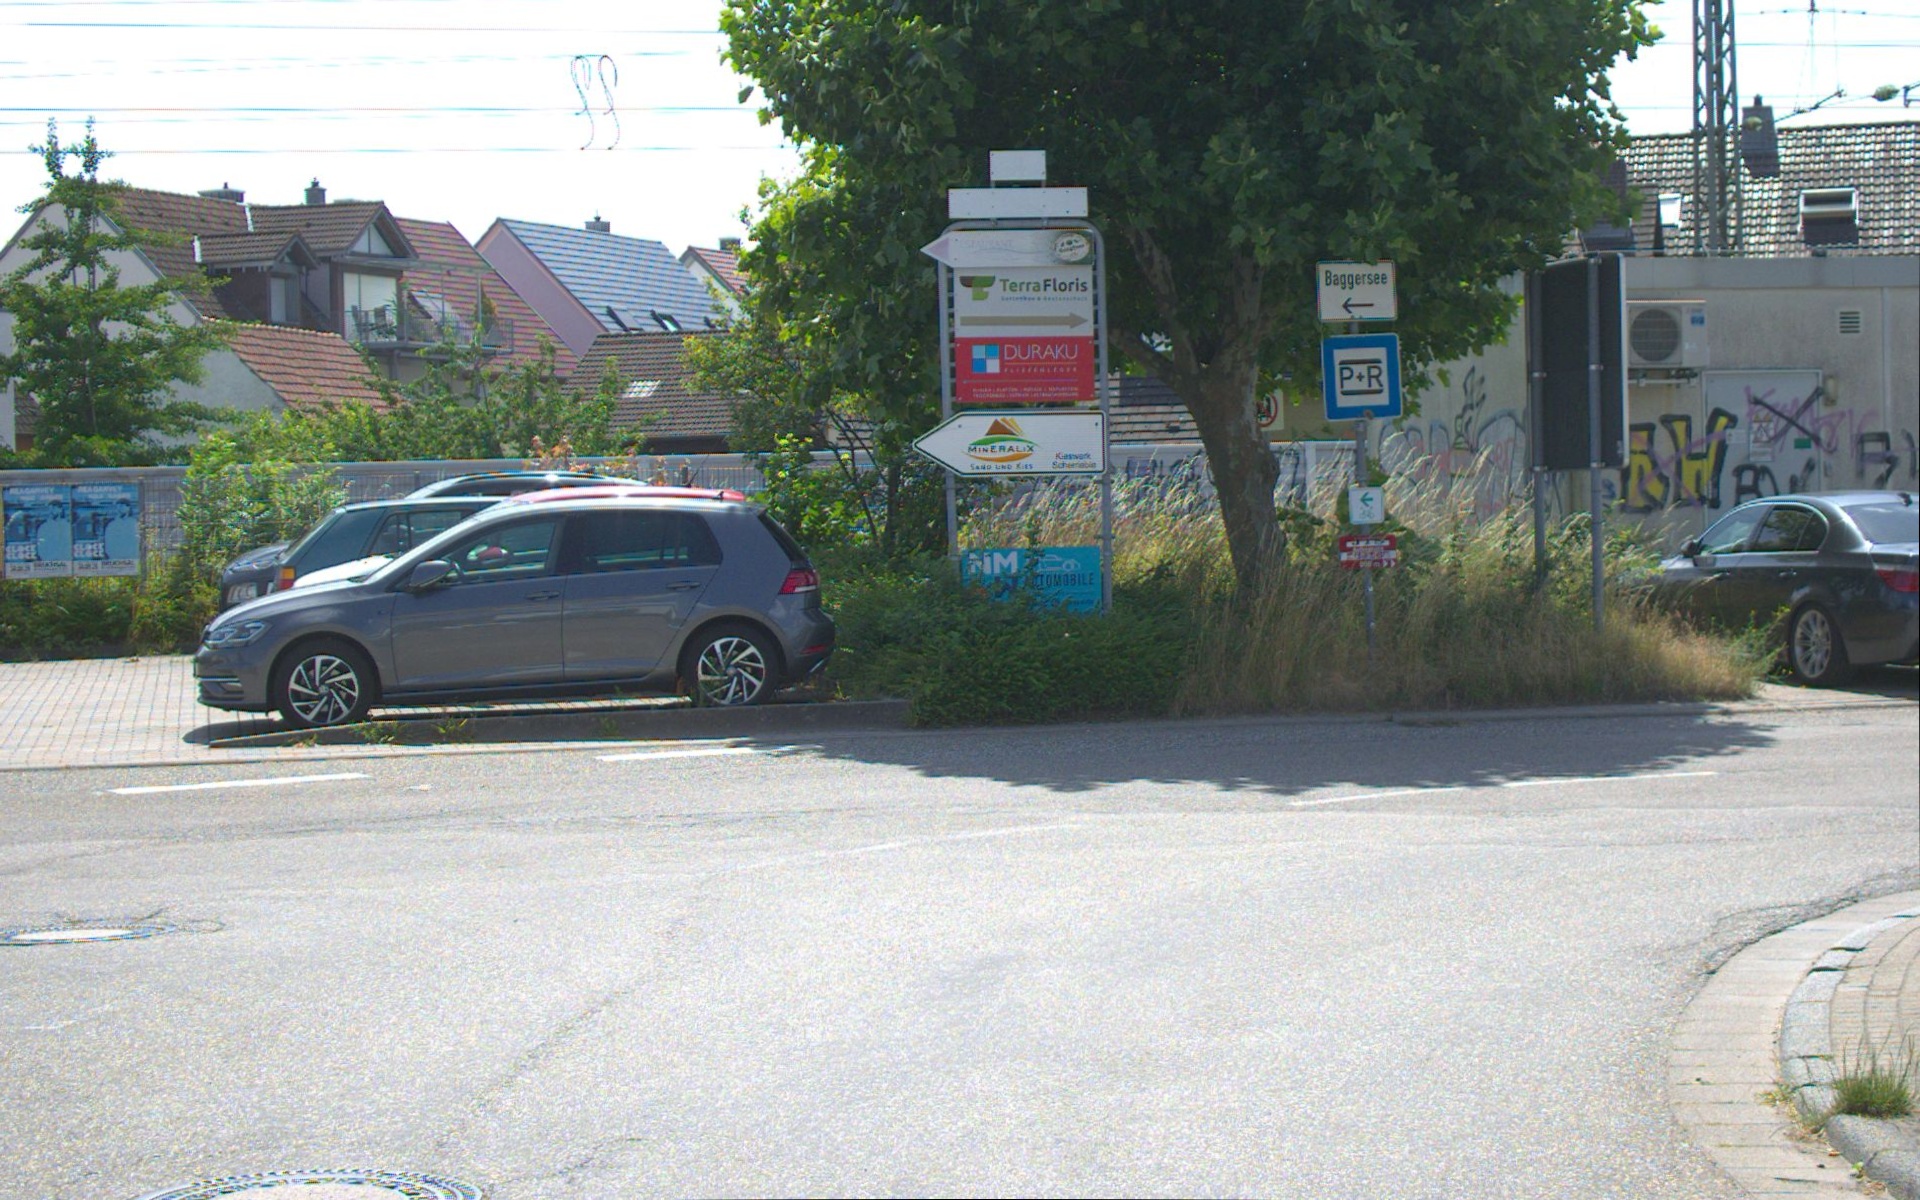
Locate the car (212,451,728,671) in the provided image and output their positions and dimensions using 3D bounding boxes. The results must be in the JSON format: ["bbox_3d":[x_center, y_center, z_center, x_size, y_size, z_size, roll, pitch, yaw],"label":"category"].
[{"bbox_3d":[-3.987,-0.339,27.987,3.986,1.651,2.001,-1,2,-9],"label":"car"}]

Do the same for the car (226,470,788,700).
[{"bbox_3d":[-3.381,-0.131,25.666,3.986,1.581,1.780,-1,1,-9],"label":"car"}]

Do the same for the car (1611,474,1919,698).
[{"bbox_3d":[6.789,-0.165,26.151,1.751,1.381,4.002,0,5,-20],"label":"car"}]

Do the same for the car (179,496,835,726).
[{"bbox_3d":[-3.013,0.048,22.986,4.186,1.458,1.665,0,1,-8],"label":"car"}]

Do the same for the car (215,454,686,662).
[{"bbox_3d":[-4.504,-0.365,30.466,3.986,1.724,1.771,1,1,-9],"label":"car"}]
